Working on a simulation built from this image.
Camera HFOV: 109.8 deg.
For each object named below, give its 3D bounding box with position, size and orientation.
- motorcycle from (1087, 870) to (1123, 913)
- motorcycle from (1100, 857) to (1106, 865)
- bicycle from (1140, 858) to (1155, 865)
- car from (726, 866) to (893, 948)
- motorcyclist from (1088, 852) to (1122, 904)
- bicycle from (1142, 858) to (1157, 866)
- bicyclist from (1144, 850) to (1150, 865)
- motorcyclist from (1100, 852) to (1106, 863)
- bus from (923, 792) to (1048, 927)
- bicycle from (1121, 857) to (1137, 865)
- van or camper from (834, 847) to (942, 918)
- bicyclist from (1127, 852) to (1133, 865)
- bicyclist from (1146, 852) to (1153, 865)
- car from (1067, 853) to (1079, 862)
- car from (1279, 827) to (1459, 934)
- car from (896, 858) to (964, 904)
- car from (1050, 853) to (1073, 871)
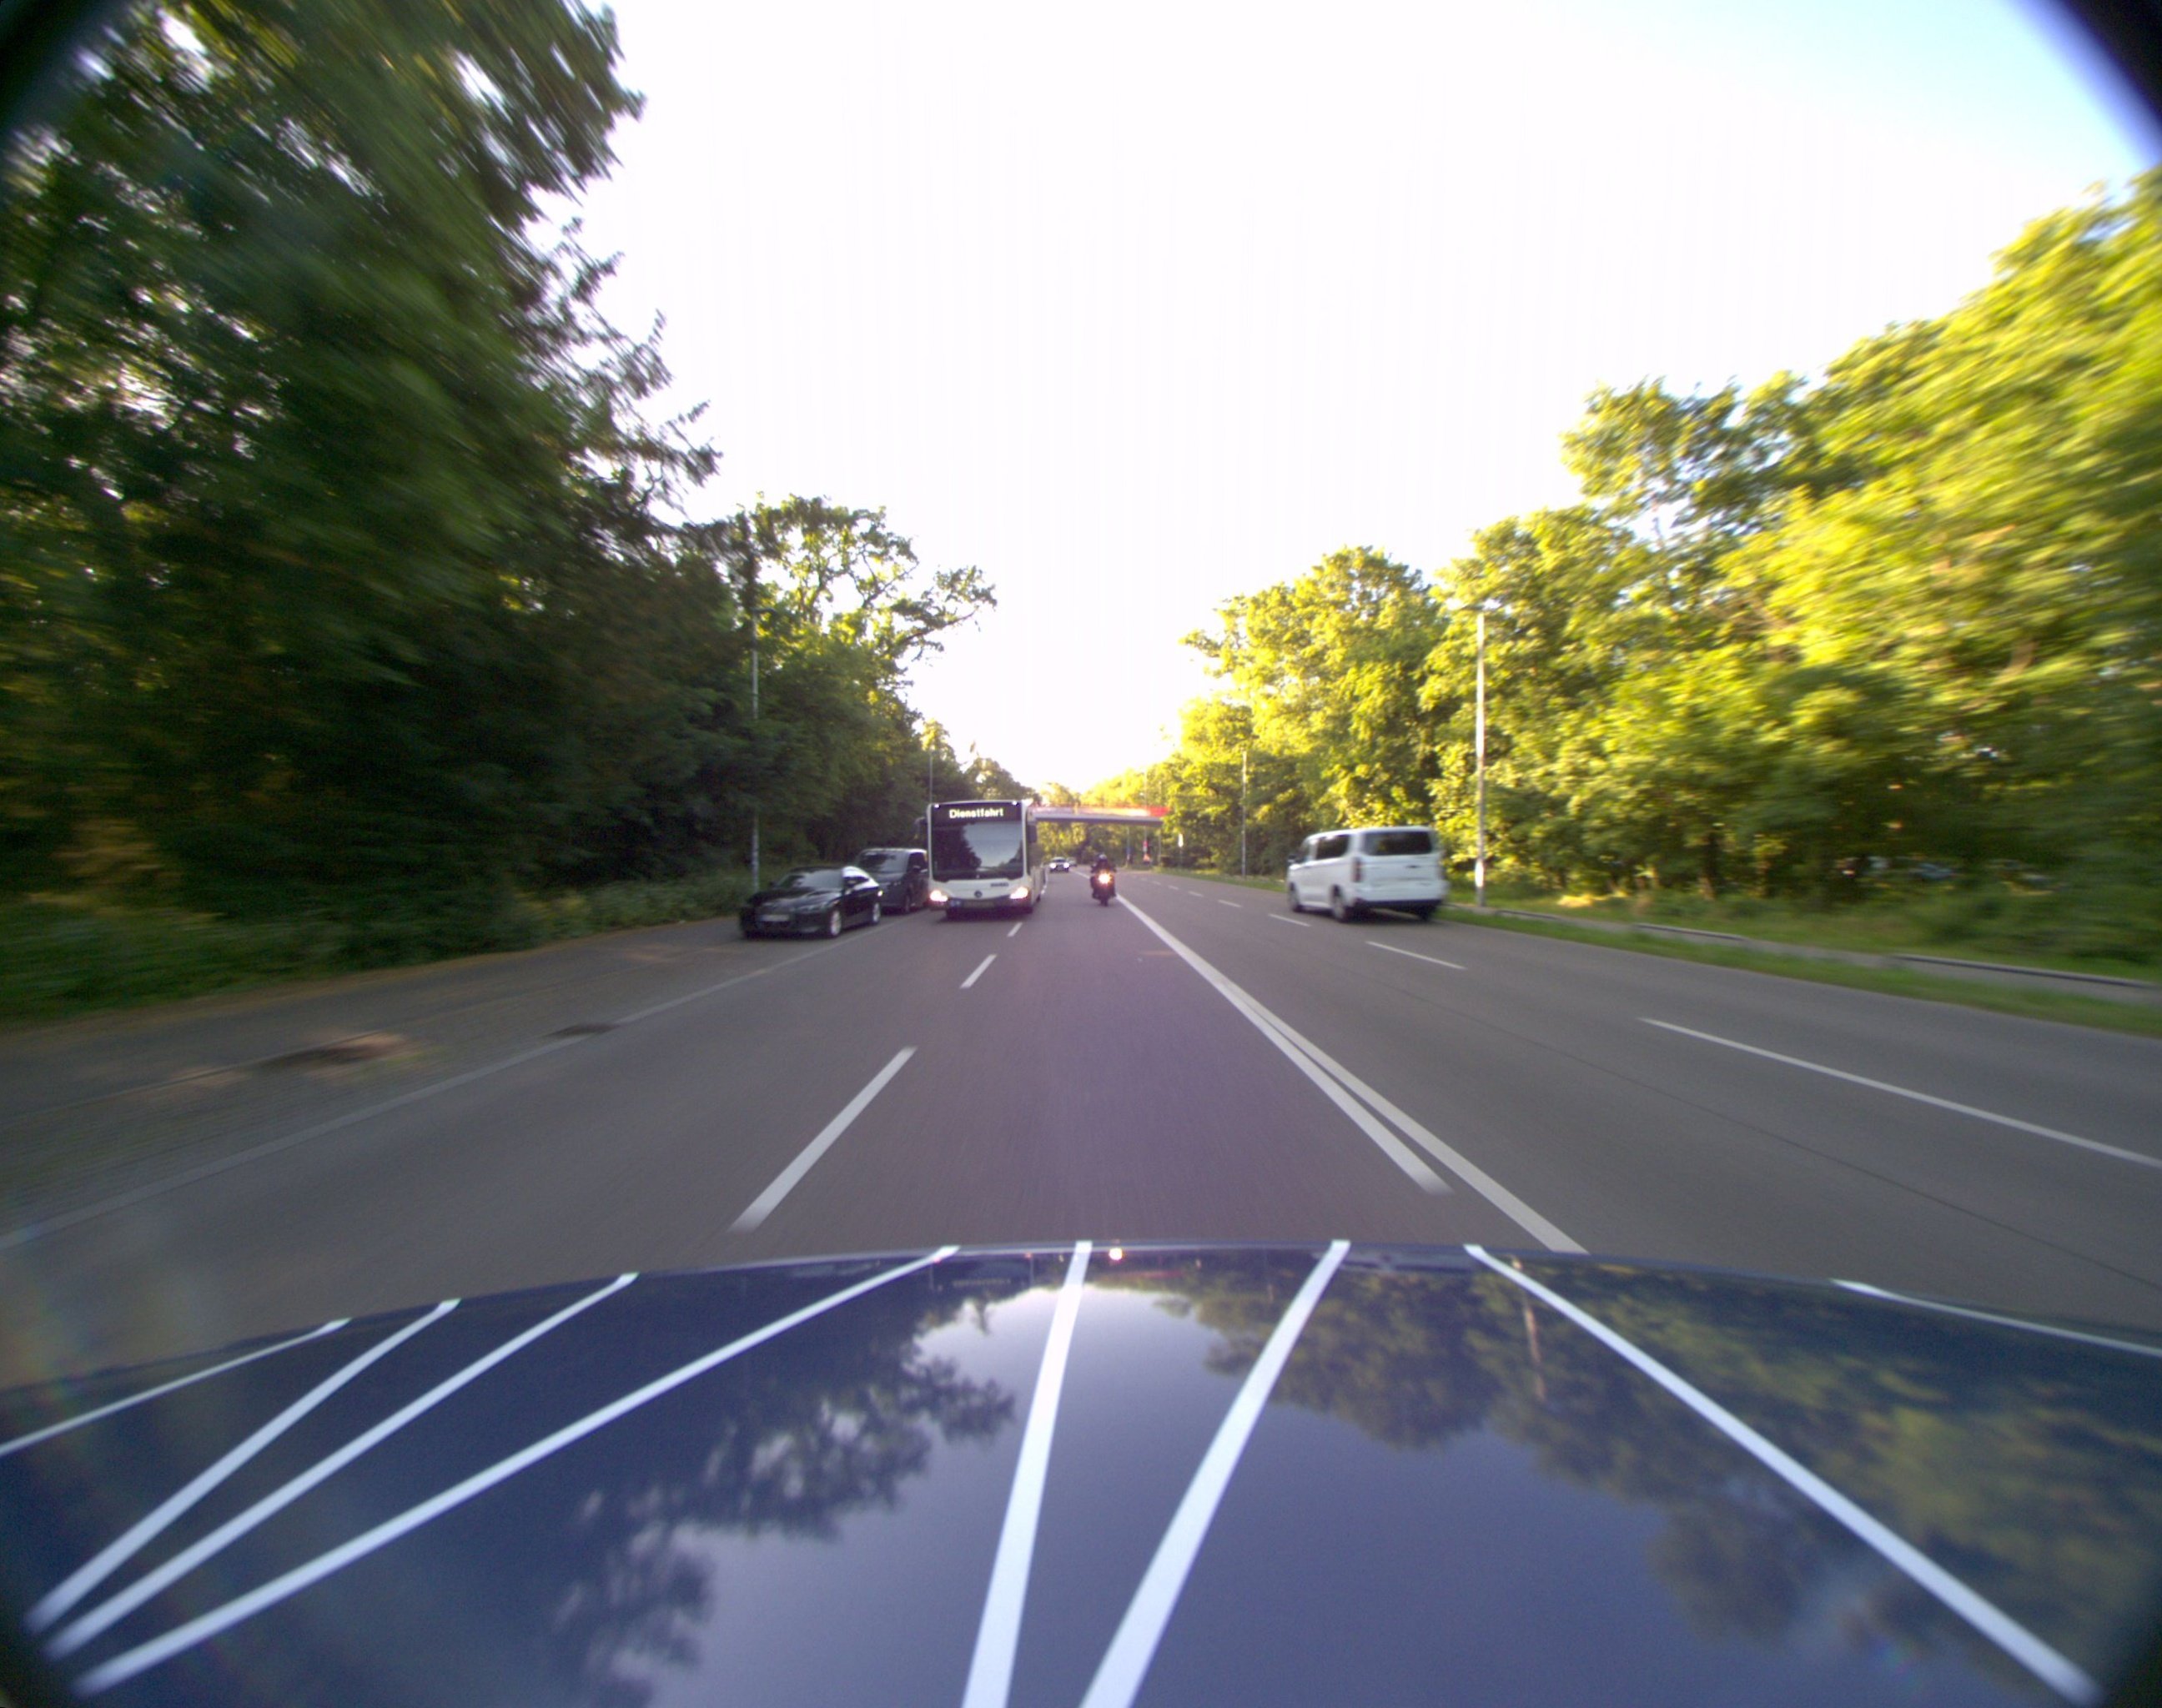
[{"bbox_3d":[0.723,1.091,23.039,0.956,1.098,3.339,-3,0,2],"label":"motorcycle"},{"bbox_3d":[3.086,0.969,104.996,0.638,0.989,2.076,-2,0,-3],"label":"motorcycle"},{"bbox_3d":[8.435,0.975,96.369,1.931,0.929,0.825,0,0,5],"label":"bicycle"},{"bbox_3d":[-5.744,1.050,16.843,1.843,1.433,4.957,1,0,1],"label":"car"},{"bbox_3d":[0.727,0.728,23.265,0.953,1.523,1.074,-2,0,2],"label":"motorcyclist"},{"bbox_3d":[8.549,0.966,95.055,1.931,0.929,0.825,-1,0,5],"label":"bicycle"},{"bbox_3d":[8.391,0.458,96.360,0.797,1.890,0.817,-1,0,5],"label":"bicyclist"},{"bbox_3d":[3.060,0.514,105.044,0.726,1.496,0.671,-1,1,-3],"label":"motorcyclist"},{"bbox_3d":[-2.566,0.119,24.485,2.711,3.203,12.276,-1,0,-1],"label":"bus"},{"bbox_3d":[6.045,0.890,95.511,1.931,0.929,0.825,-1,0,5],"label":"bicycle"},{"bbox_3d":[-5.709,0.773,23.190,1.897,1.937,5.134,0,0,1],"label":"van or camper"},{"bbox_3d":[6.155,0.518,95.491,0.797,1.634,0.841,-1,0,5],"label":"bicyclist"},{"bbox_3d":[8.553,0.548,95.061,0.797,1.687,0.946,-1,0,5],"label":"bicyclist"},{"bbox_3d":[-1.165,0.514,114.376,1.686,1.398,3.888,-1,0,-2],"label":"car"},{"bbox_3d":[6.191,0.479,17.113,1.999,1.981,4.996,-2,1,-2],"label":"car"},{"bbox_3d":[-5.637,0.962,28.817,1.732,1.535,4.217,1,0,0],"label":"car"},{"bbox_3d":[-1.985,0.787,75.993,1.999,1.761,4.230,-1,0,-4],"label":"car"}]
